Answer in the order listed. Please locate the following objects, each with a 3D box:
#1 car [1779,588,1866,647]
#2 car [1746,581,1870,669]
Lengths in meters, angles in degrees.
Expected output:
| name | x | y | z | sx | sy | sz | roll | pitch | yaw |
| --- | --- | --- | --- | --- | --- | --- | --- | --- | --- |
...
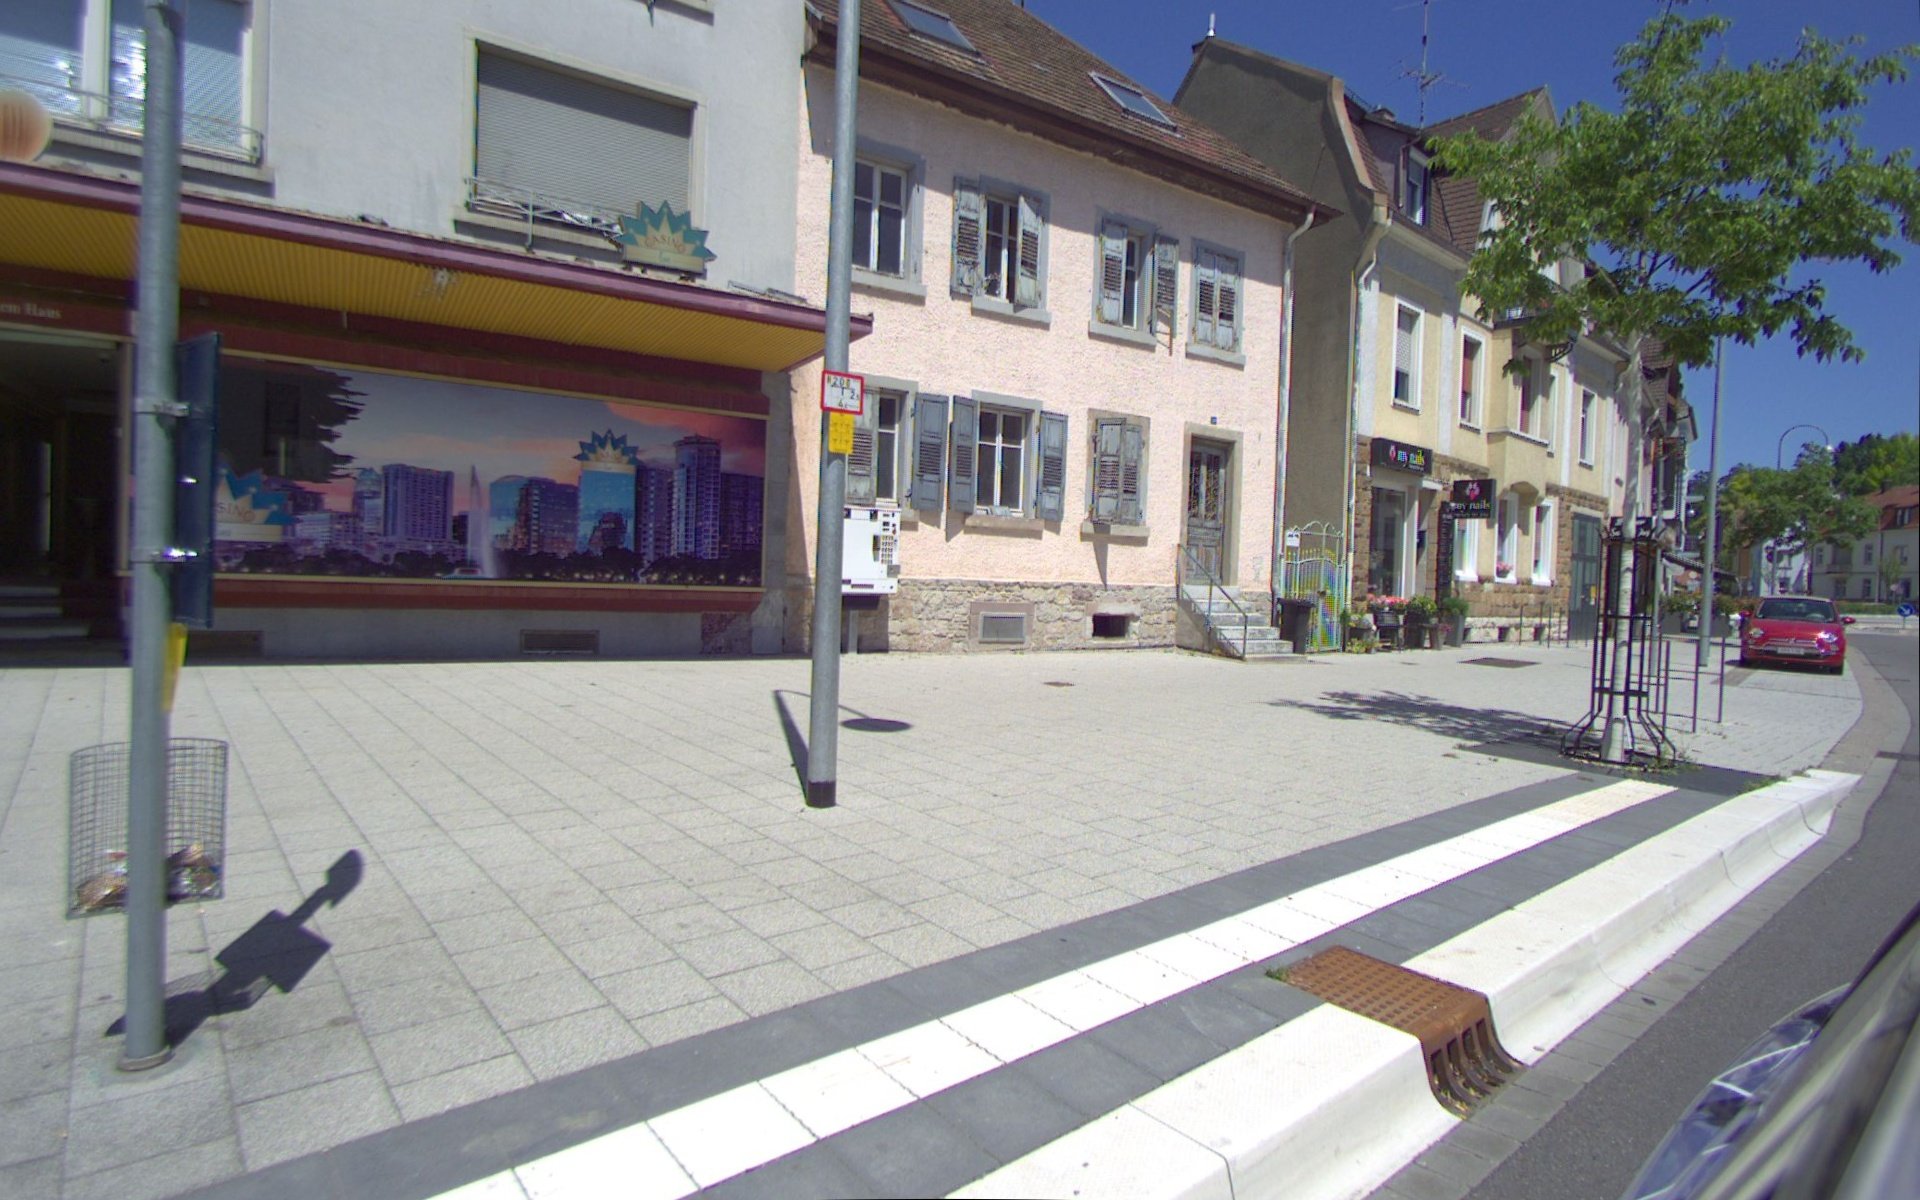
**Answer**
| name | x | y | z | sx | sy | sz | roll | pitch | yaw |
| --- | --- | --- | --- | --- | --- | --- | --- | --- | --- |
| car | 25.659 | 0.459 | 30.215 | 1.728 | 1.490 | 4.263 | 6 | 4 | 39 |
| car | 17.162 | 0.449 | 20.440 | 1.679 | 1.532 | 3.334 | 6 | 4 | 42 |
